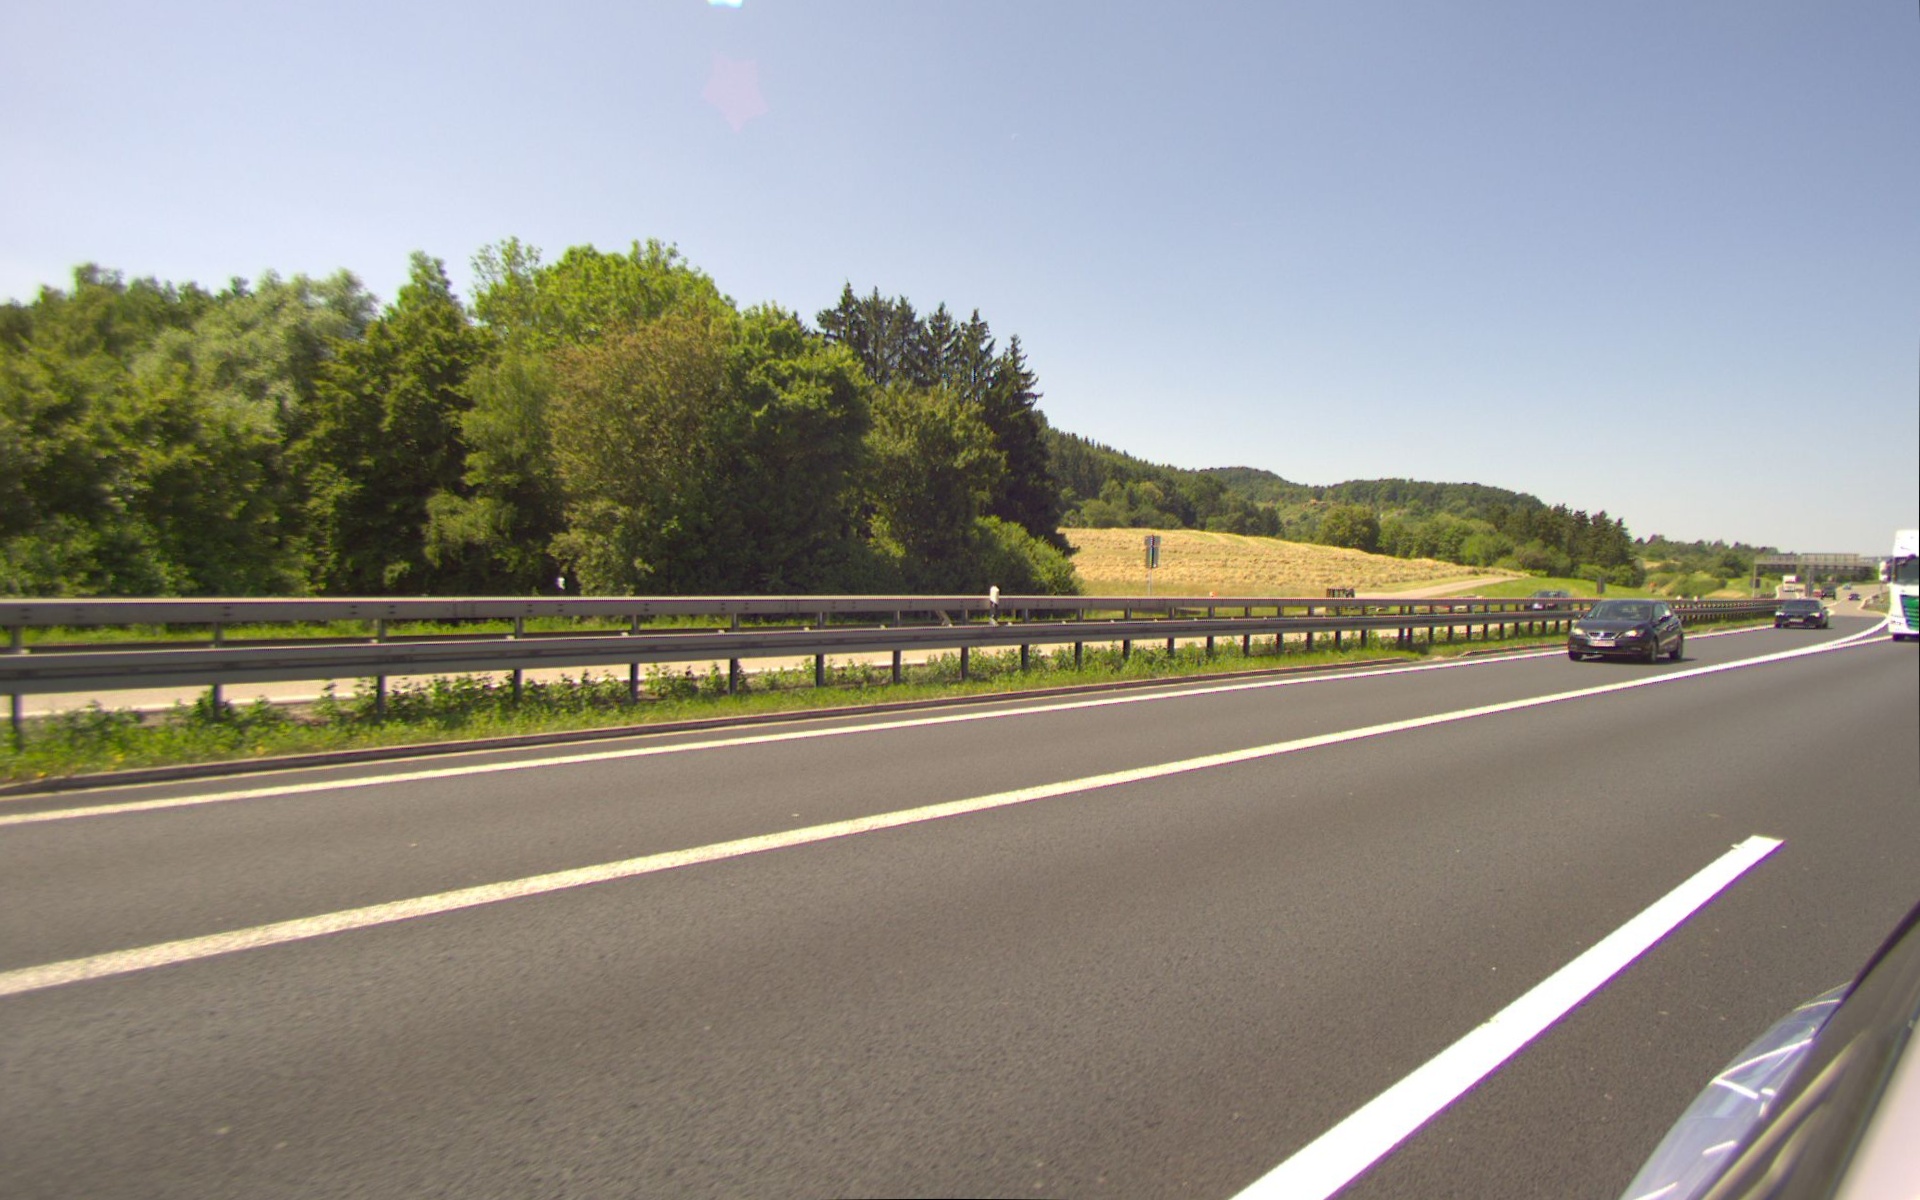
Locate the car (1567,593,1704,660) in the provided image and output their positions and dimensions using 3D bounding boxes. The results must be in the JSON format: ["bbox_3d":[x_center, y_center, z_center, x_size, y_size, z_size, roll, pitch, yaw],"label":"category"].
[{"bbox_3d":[15.688,0.549,23.447,3.696,1.417,1.780,-1,1,-41],"label":"car"}]

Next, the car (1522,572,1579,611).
[{"bbox_3d":[32.234,-0.471,55.229,1.992,2.038,3.941,2,2,41],"label":"car"}]

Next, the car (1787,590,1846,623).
[{"bbox_3d":[41.466,0.285,48.963,3.804,1.491,1.888,-1,1,-45],"label":"car"}]

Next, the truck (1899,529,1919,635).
[{"bbox_3d":[35.043,-0.619,35.547,4.329,3.638,2.646,0,1,-42],"label":"truck"}]

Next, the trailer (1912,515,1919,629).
[{"bbox_3d":[42.095,-1.062,41.923,14.638,4.241,2.660,0,0,-42],"label":"trailer"}]
